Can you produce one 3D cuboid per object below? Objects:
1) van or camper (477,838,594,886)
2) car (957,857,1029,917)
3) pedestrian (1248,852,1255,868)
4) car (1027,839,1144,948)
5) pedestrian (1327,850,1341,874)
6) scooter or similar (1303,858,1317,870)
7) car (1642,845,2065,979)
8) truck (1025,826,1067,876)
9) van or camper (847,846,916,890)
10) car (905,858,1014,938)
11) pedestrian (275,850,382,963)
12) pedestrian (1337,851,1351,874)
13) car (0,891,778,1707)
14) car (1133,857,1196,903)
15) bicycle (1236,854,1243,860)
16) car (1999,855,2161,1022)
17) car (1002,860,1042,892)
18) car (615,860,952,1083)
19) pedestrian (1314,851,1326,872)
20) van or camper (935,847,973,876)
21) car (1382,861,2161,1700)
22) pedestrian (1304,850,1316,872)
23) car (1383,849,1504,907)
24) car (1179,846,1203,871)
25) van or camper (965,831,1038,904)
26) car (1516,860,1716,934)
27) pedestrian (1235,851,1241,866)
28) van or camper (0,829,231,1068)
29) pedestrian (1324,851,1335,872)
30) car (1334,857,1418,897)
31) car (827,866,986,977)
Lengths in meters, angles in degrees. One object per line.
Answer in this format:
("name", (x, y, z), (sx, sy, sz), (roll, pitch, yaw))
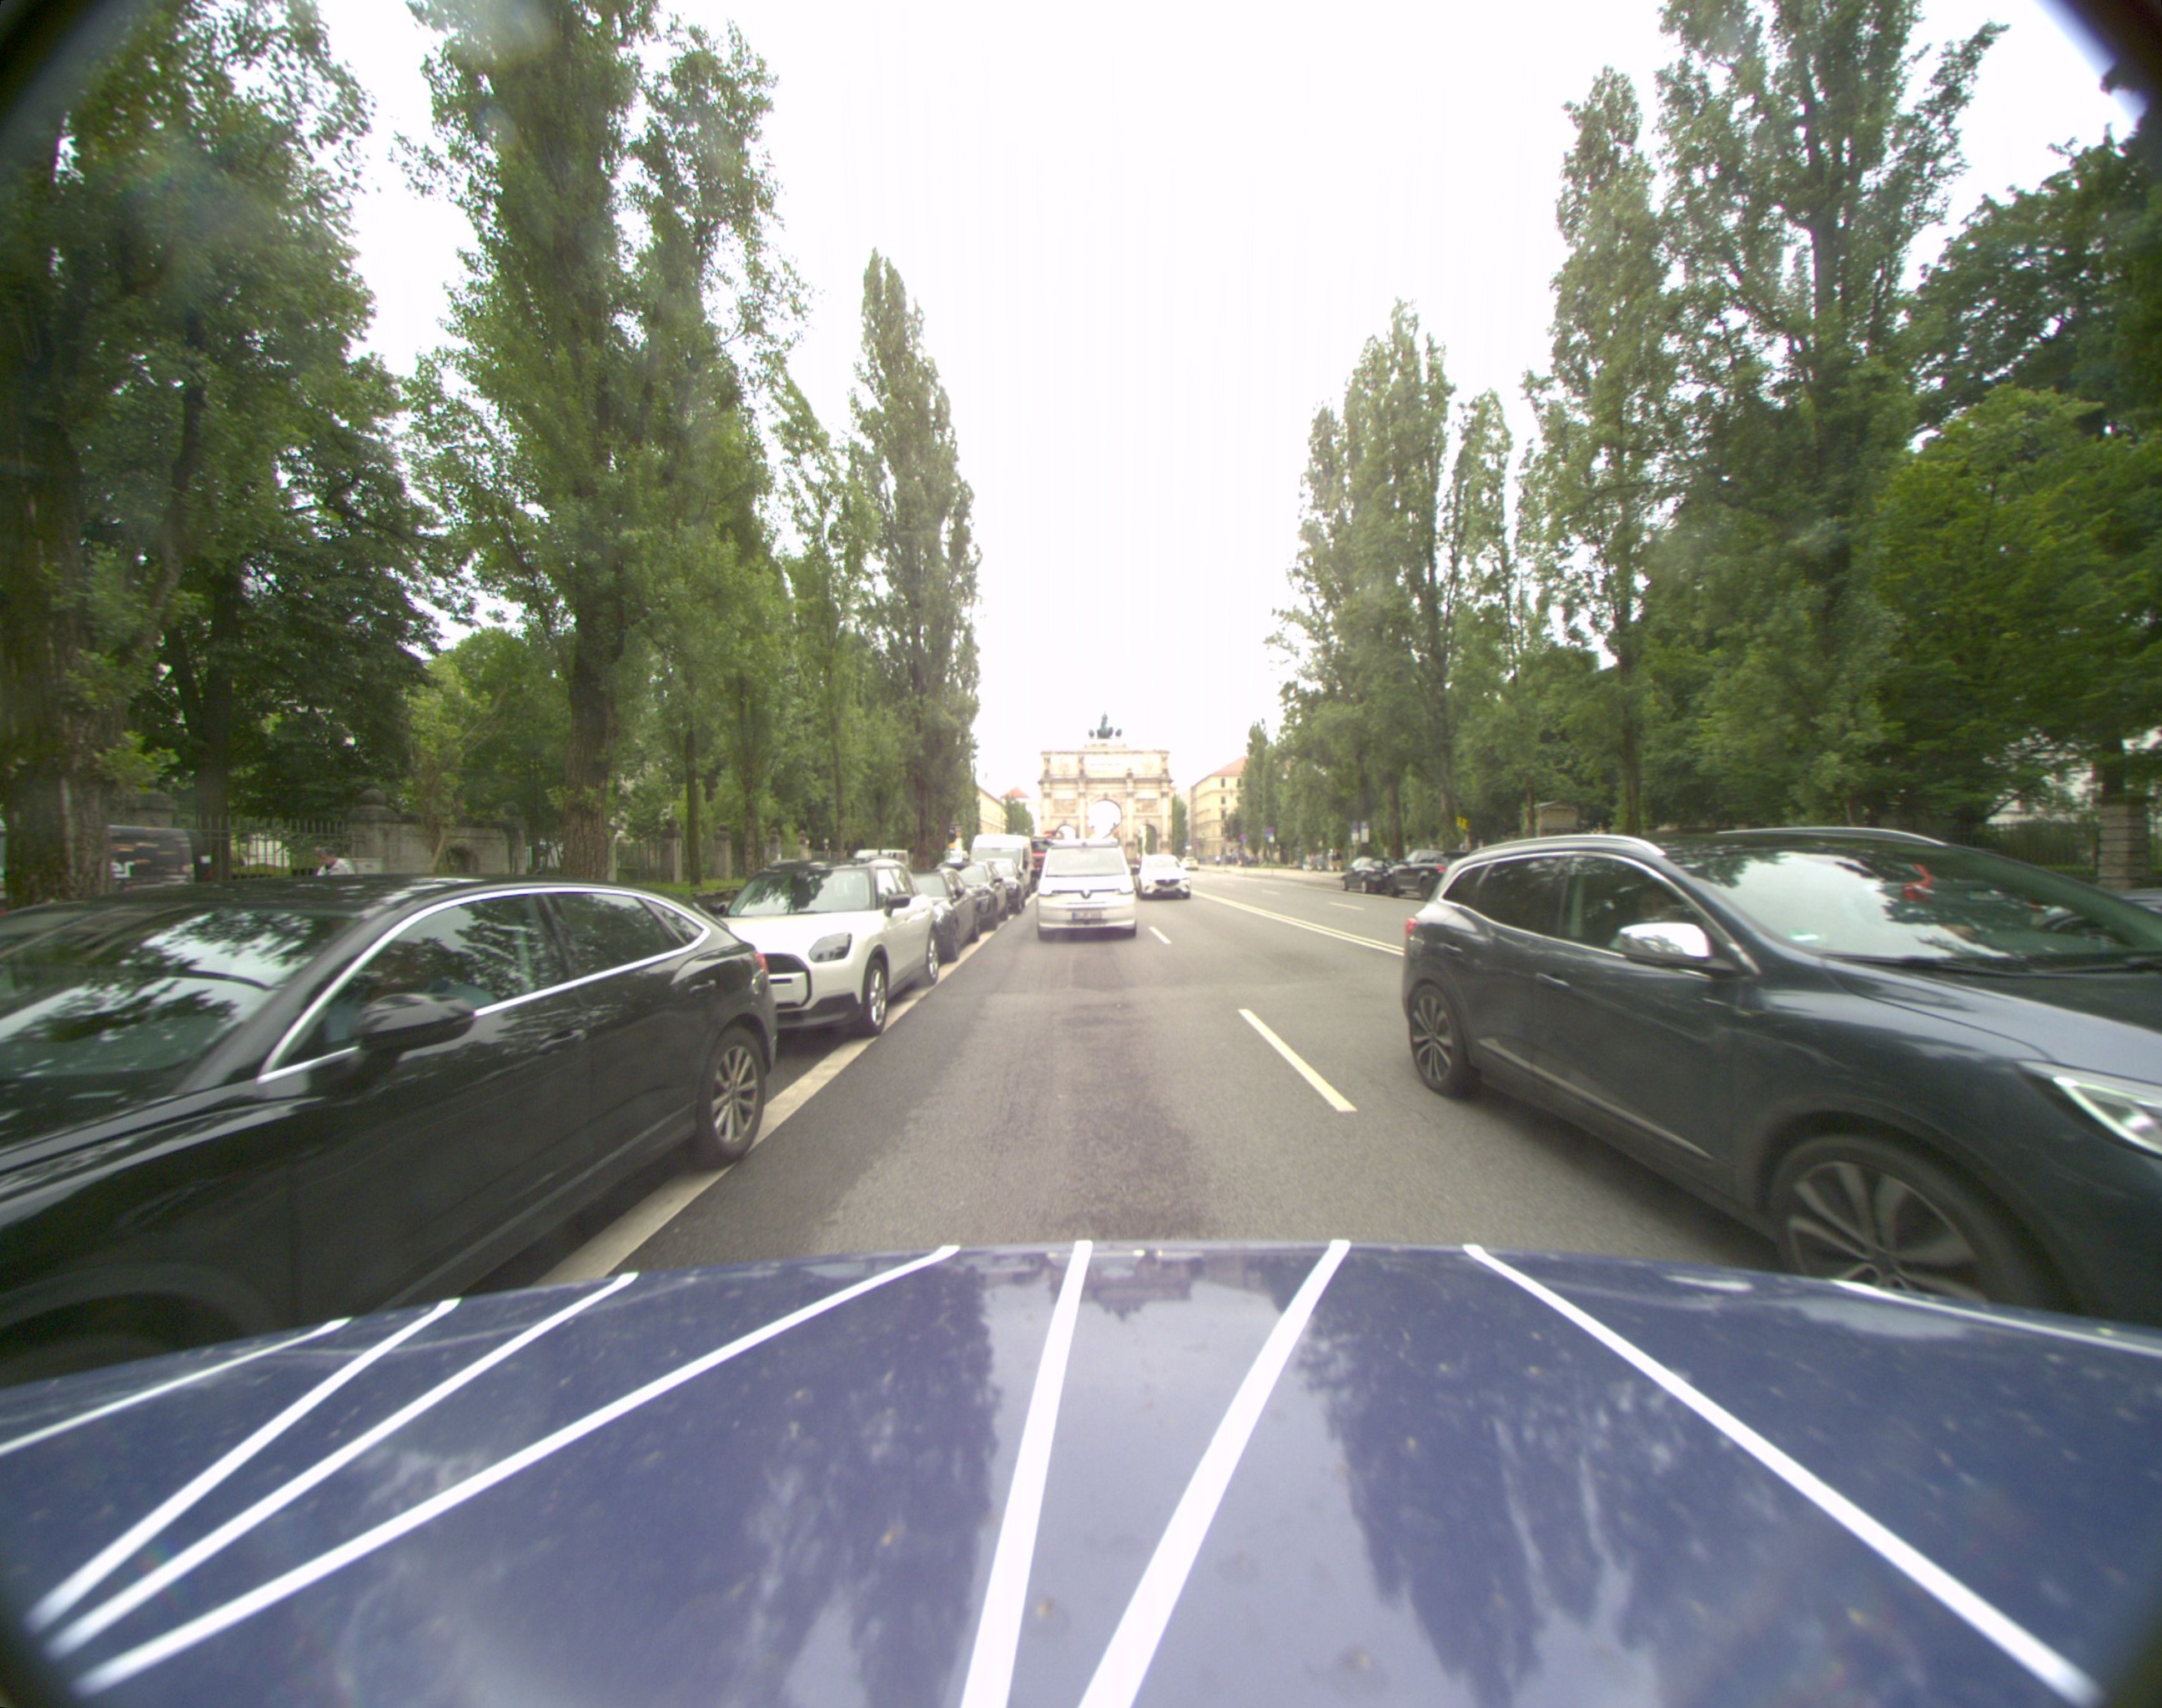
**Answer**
("van or camper", (-32.115, 0.477, 44.847), (5.222, 2.690, 2.249), (-1, 0, 0))
("car", (-2.577, 0.917, 23.147), (1.789, 1.639, 4.417), (-1, 0, -2))
("pedestrian", (18.468, 0.598, 82.174), (0.533, 1.720, 0.583), (-1, 0, -11))
("car", (0.122, 0.698, 16.504), (2.064, 1.916, 5.728), (-1, 0, 1))
("pedestrian", (19.774, 0.623, 59.472), (0.711, 1.823, 1.093), (0, 0, -1))
("scooter or similar", (21.758, 0.942, 72.276), (0.747, 1.171, 1.416), (1, 0, -4))
("car", (12.510, 0.788, 13.014), (1.914, 1.779, 5.179), (2, 0, 0))
("truck", (-2.621, -0.200, 59.699), (2.852, 3.543, 10.278), (-1, 0, -1))
("van or camper", (-9.562, 0.631, 36.922), (1.980, 1.922, 5.038), (-2, 0, 0))
("car", (-2.700, 0.916, 17.903), (1.788, 1.608, 4.638), (-1, 0, 0))
("pedestrian", (-12.186, 0.820, 12.339), (0.797, 1.758, 0.895), (-1, 1, 3))
("pedestrian", (20.554, 0.668, 59.408), (0.711, 1.762, 1.093), (0, 0, -1))
("car", (-2.773, 0.990, 2.252), (1.885, 1.531, 4.464), (-1, 0, 1))
("car", (2.959, 0.881, 27.673), (1.910, 1.516, 4.009), (-1, 0, 1))
("bicycle", (25.892, 0.496, 124.272), (0.674, 0.947, 1.913), (-2, 0, -1))
("car", (12.374, 0.926, 6.938), (1.946, 1.757, 4.895), (2, 0, -1))
("car", (-2.785, 1.009, 36.486), (1.680, 1.412, 3.999), (-1, 0, -1))
("car", (-2.653, 0.912, 8.074), (1.747, 1.665, 4.579), (-1, 0, 0))
("pedestrian", (19.361, 0.639, 61.672), (0.689, 1.690, 0.885), (-1, 0, 0))
("van or camper", (-9.391, 0.549, 56.408), (2.009, 2.002, 4.985), (-2, 0, -1))
("car", (3.026, 0.868, 3.096), (1.840, 1.576, 4.185), (-2, 0, -1))
("pedestrian", (18.630, 0.577, 61.807), (0.631, 1.737, 0.908), (-1, 0, 0))
("car", (12.496, 0.764, 26.610), (2.051, 1.776, 4.800), (2, 0, 2))
("car", (12.211, 0.476, 84.582), (1.797, 1.333, 4.454), (0, 19, -2))
("van or camper", (-2.964, 0.458, 29.871), (2.144, 2.525, 6.417), (-1, 0, 0))
("car", (12.438, 0.923, 18.075), (1.708, 1.450, 4.272), (1, 0, 0))
("pedestrian", (17.984, 0.491, 87.051), (0.533, 1.720, 0.583), (-1, 0, -11))
("van or camper", (-9.738, 0.786, 5.030), (2.081, 1.922, 5.368), (-2, 0, 1))
("pedestrian", (20.218, 0.607, 61.823), (0.661, 1.706, 0.911), (-1, 0, 0))
("car", (12.663, 0.942, 32.899), (1.949, 1.574, 4.389), (1, 0, 1))
("car", (-2.758, 0.998, 13.007), (1.707, 1.511, 4.295), (-1, 0, 0))
